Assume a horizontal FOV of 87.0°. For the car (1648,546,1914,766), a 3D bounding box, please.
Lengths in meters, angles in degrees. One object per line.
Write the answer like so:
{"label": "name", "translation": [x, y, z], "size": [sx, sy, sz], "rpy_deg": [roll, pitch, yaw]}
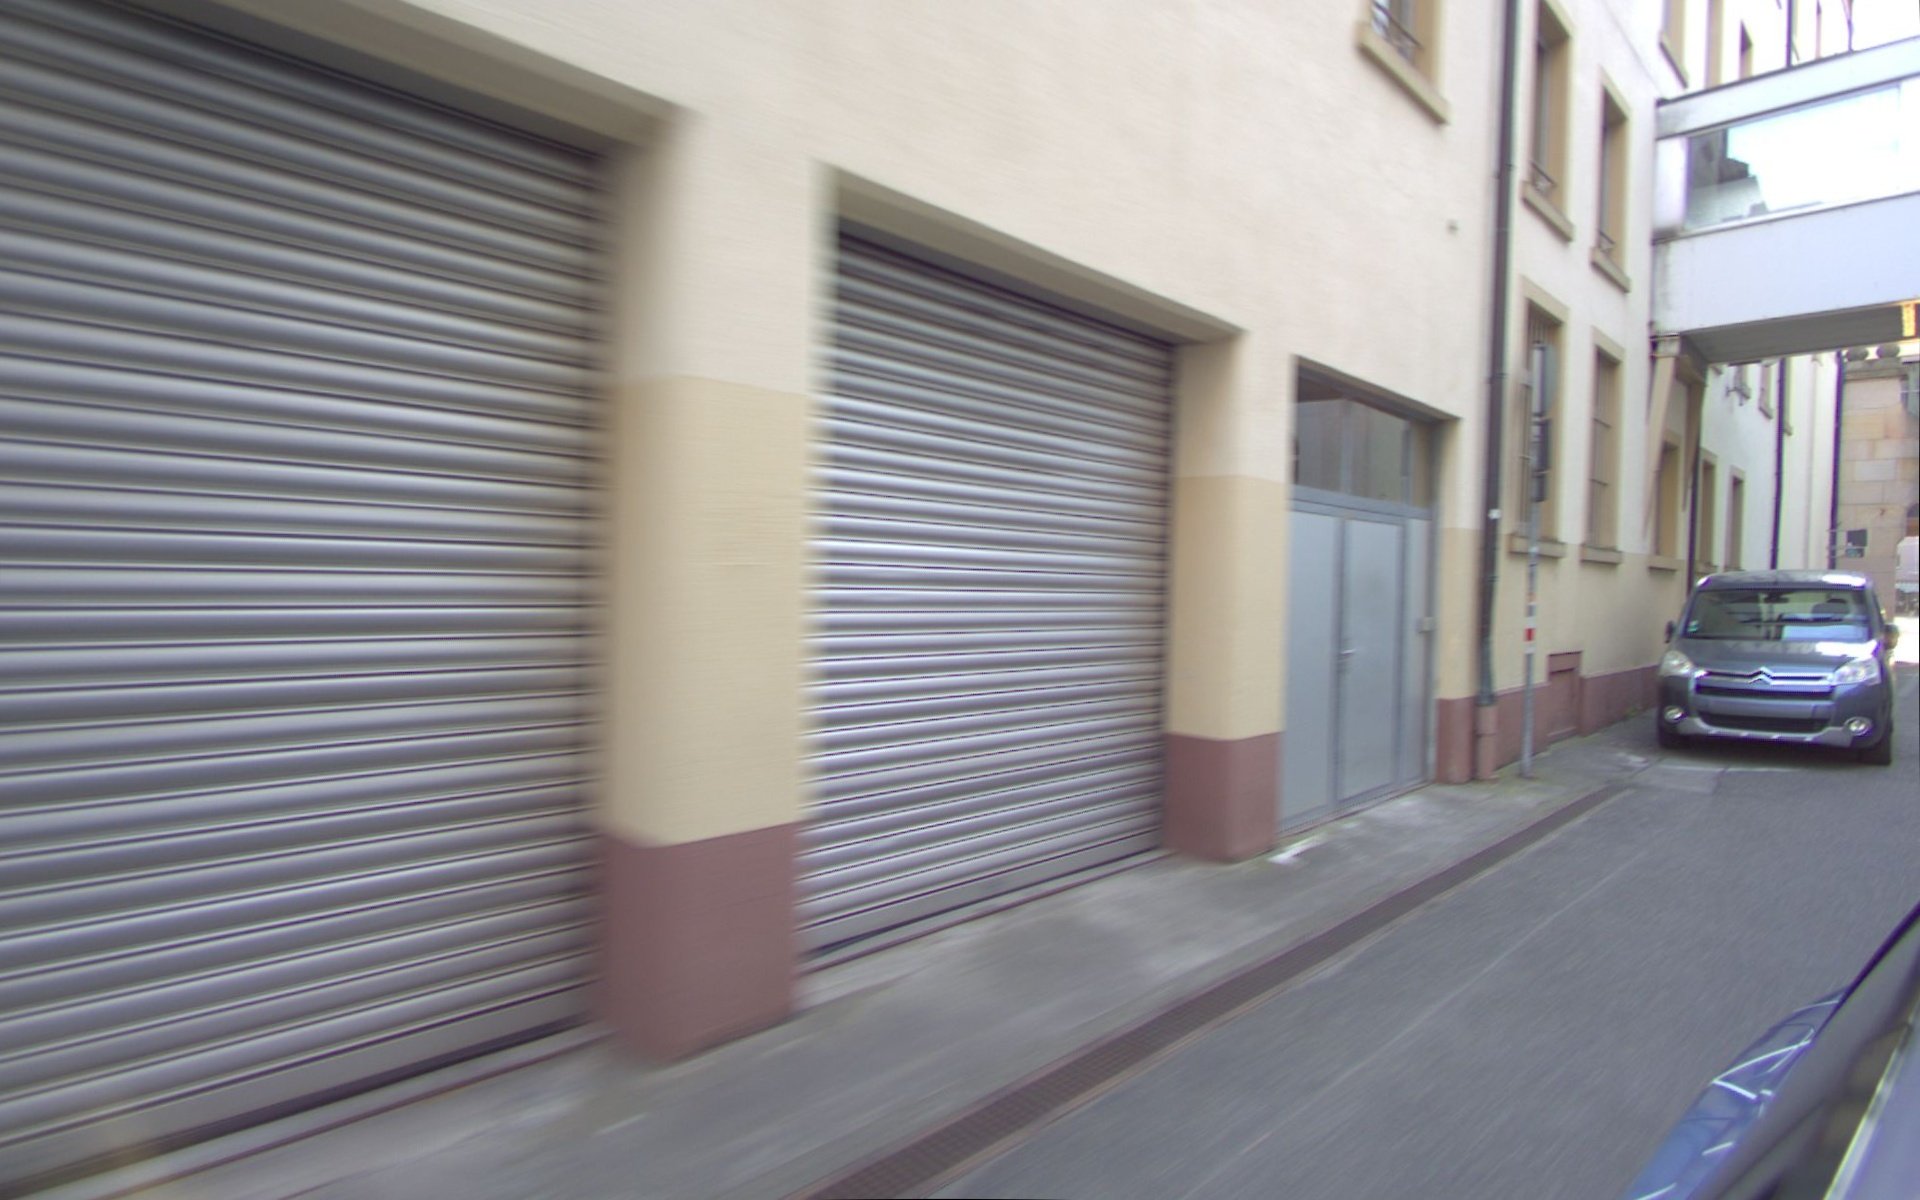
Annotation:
{"label": "car", "translation": [8.681, 0.454, 10.528], "size": [1.760, 1.789, 4.674], "rpy_deg": [0, 0, 44]}
